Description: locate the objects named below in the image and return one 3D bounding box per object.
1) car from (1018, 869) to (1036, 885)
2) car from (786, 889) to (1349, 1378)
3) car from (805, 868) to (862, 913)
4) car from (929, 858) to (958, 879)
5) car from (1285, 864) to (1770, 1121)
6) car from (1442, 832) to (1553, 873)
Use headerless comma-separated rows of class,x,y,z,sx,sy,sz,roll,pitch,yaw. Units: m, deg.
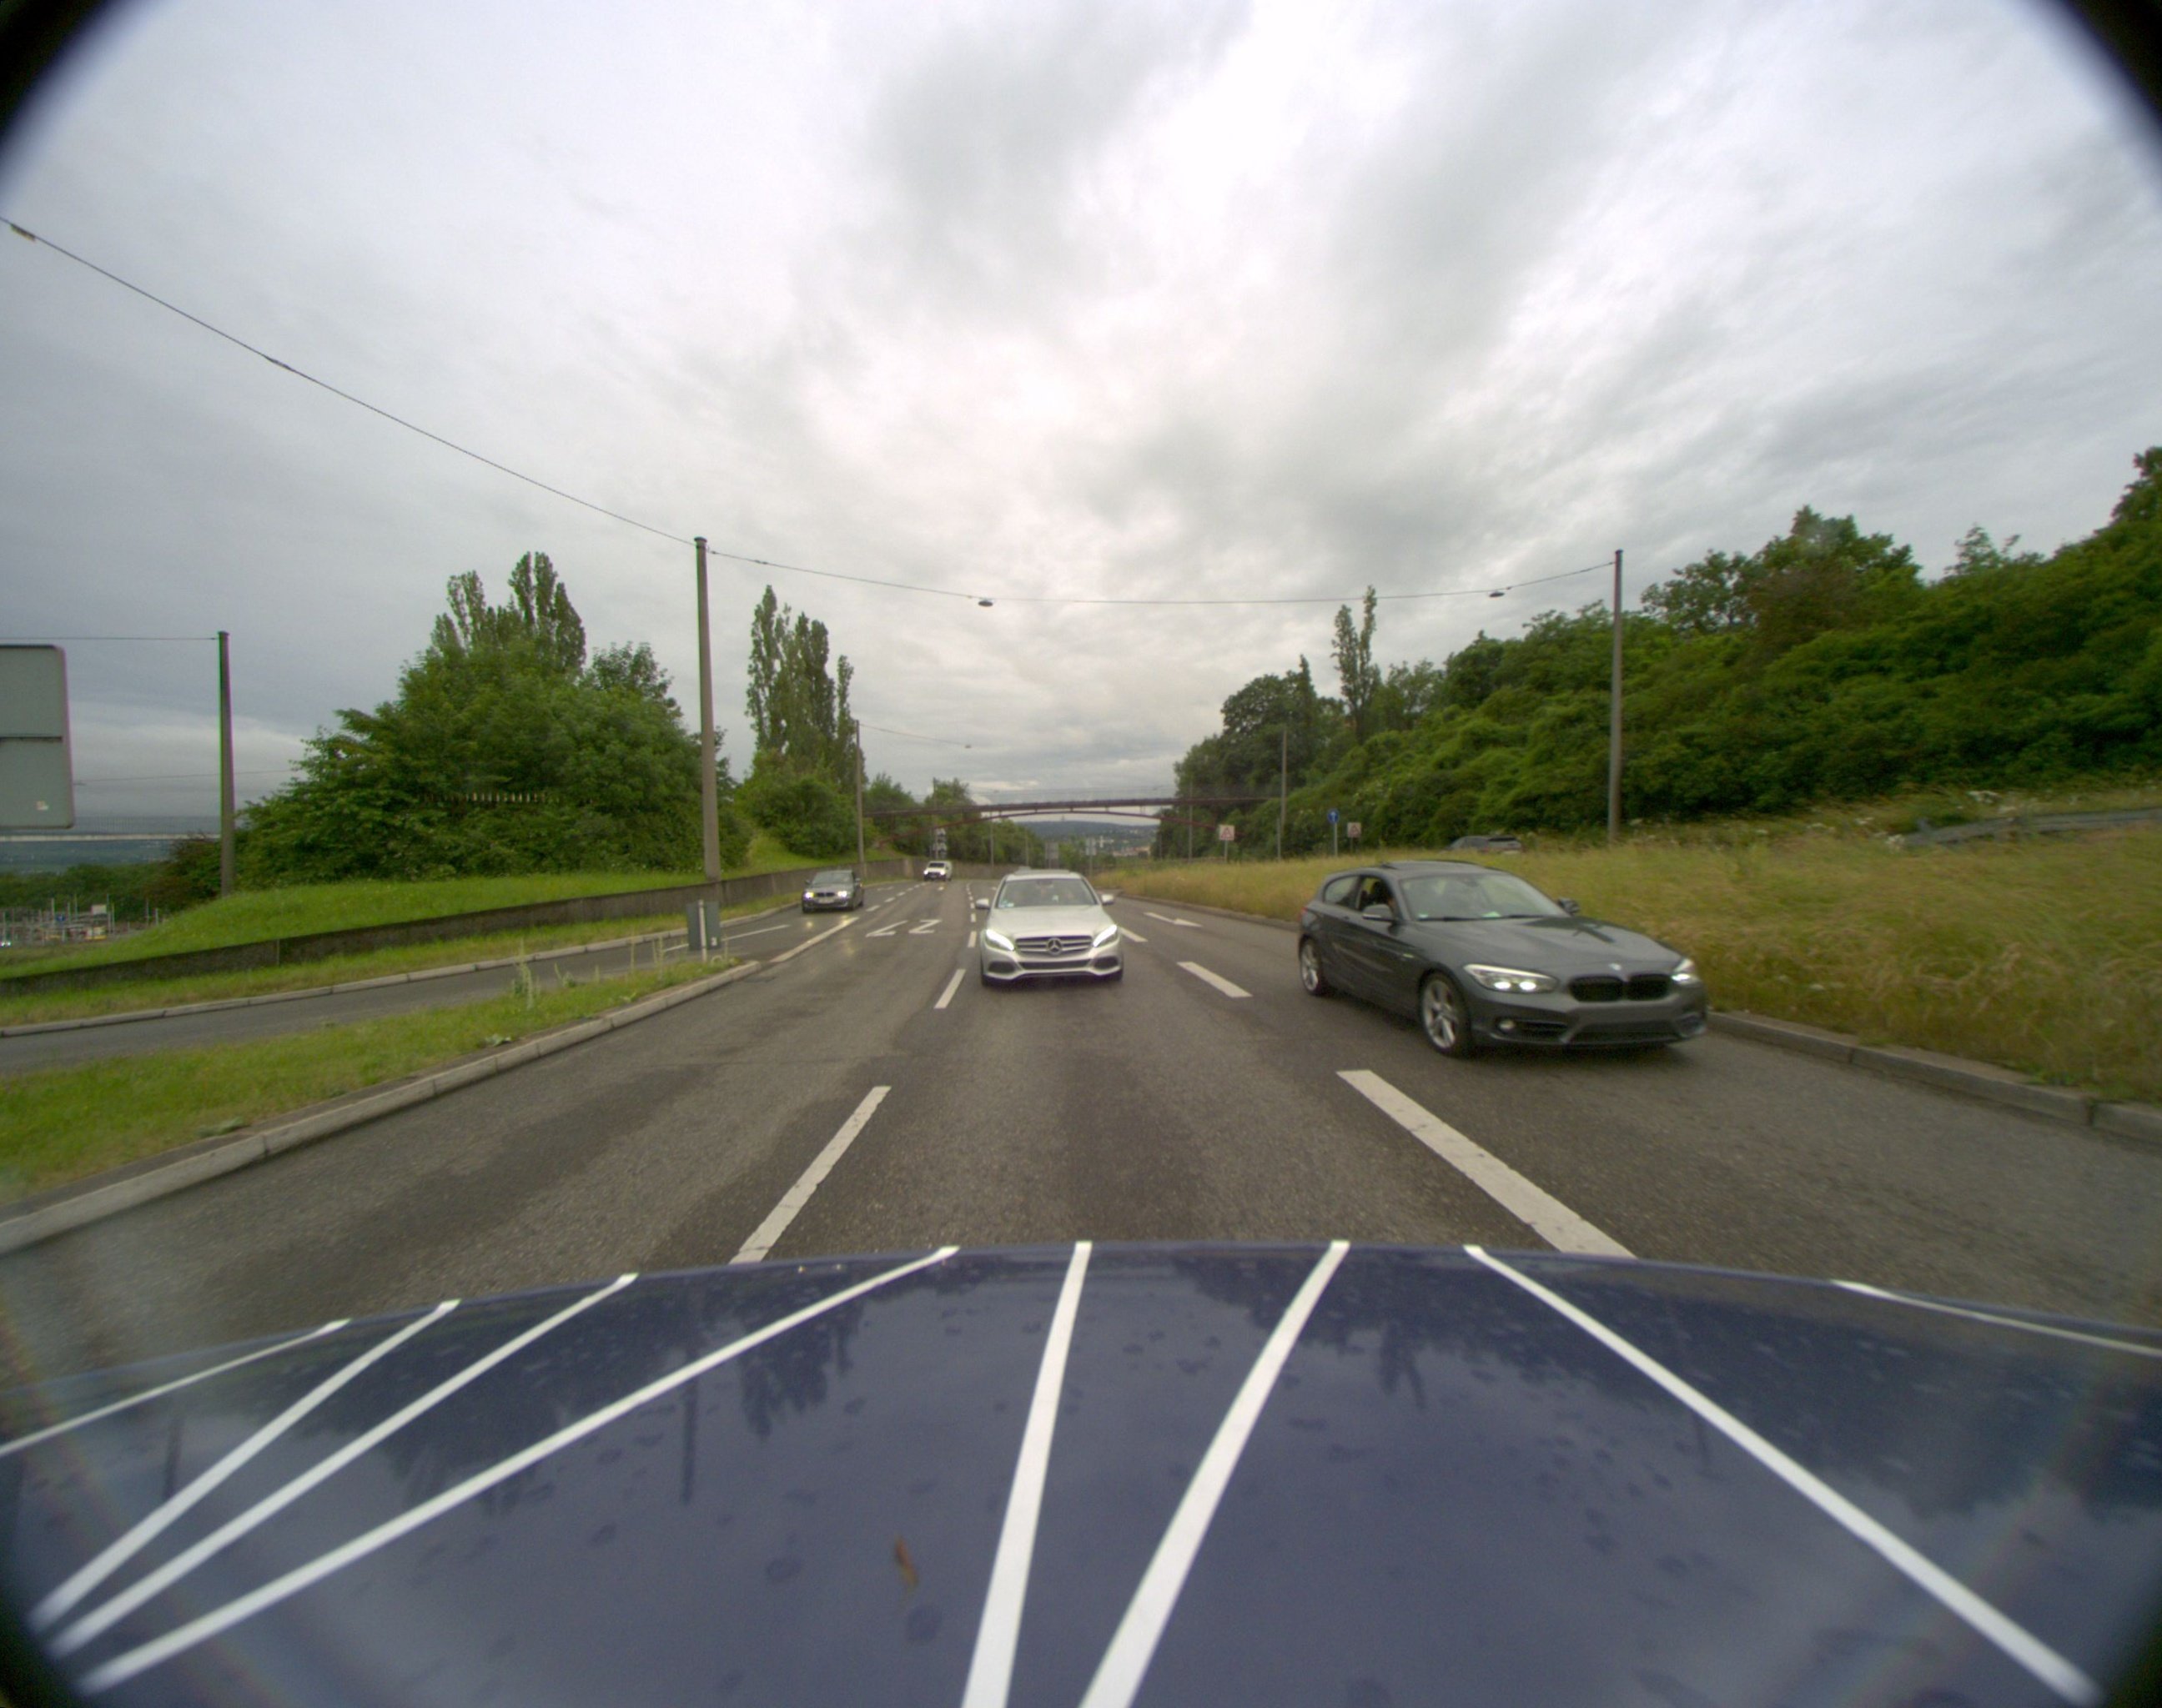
car,-5.475,2.283,77.420,1.646,1.495,3.778,-3,0,-2
car,-0.155,1.035,4.666,1.895,1.360,4.133,-2,1,-4
car,-8.767,1.240,27.148,1.686,1.411,4.077,-2,-1,-15
car,-12.785,1.329,70.889,1.999,1.837,4.822,0,1,-2
car,3.395,0.895,6.840,1.707,1.451,4.112,-2,1,-4
car,16.204,-0.077,29.824,1.998,1.445,4.285,-2,1,0
